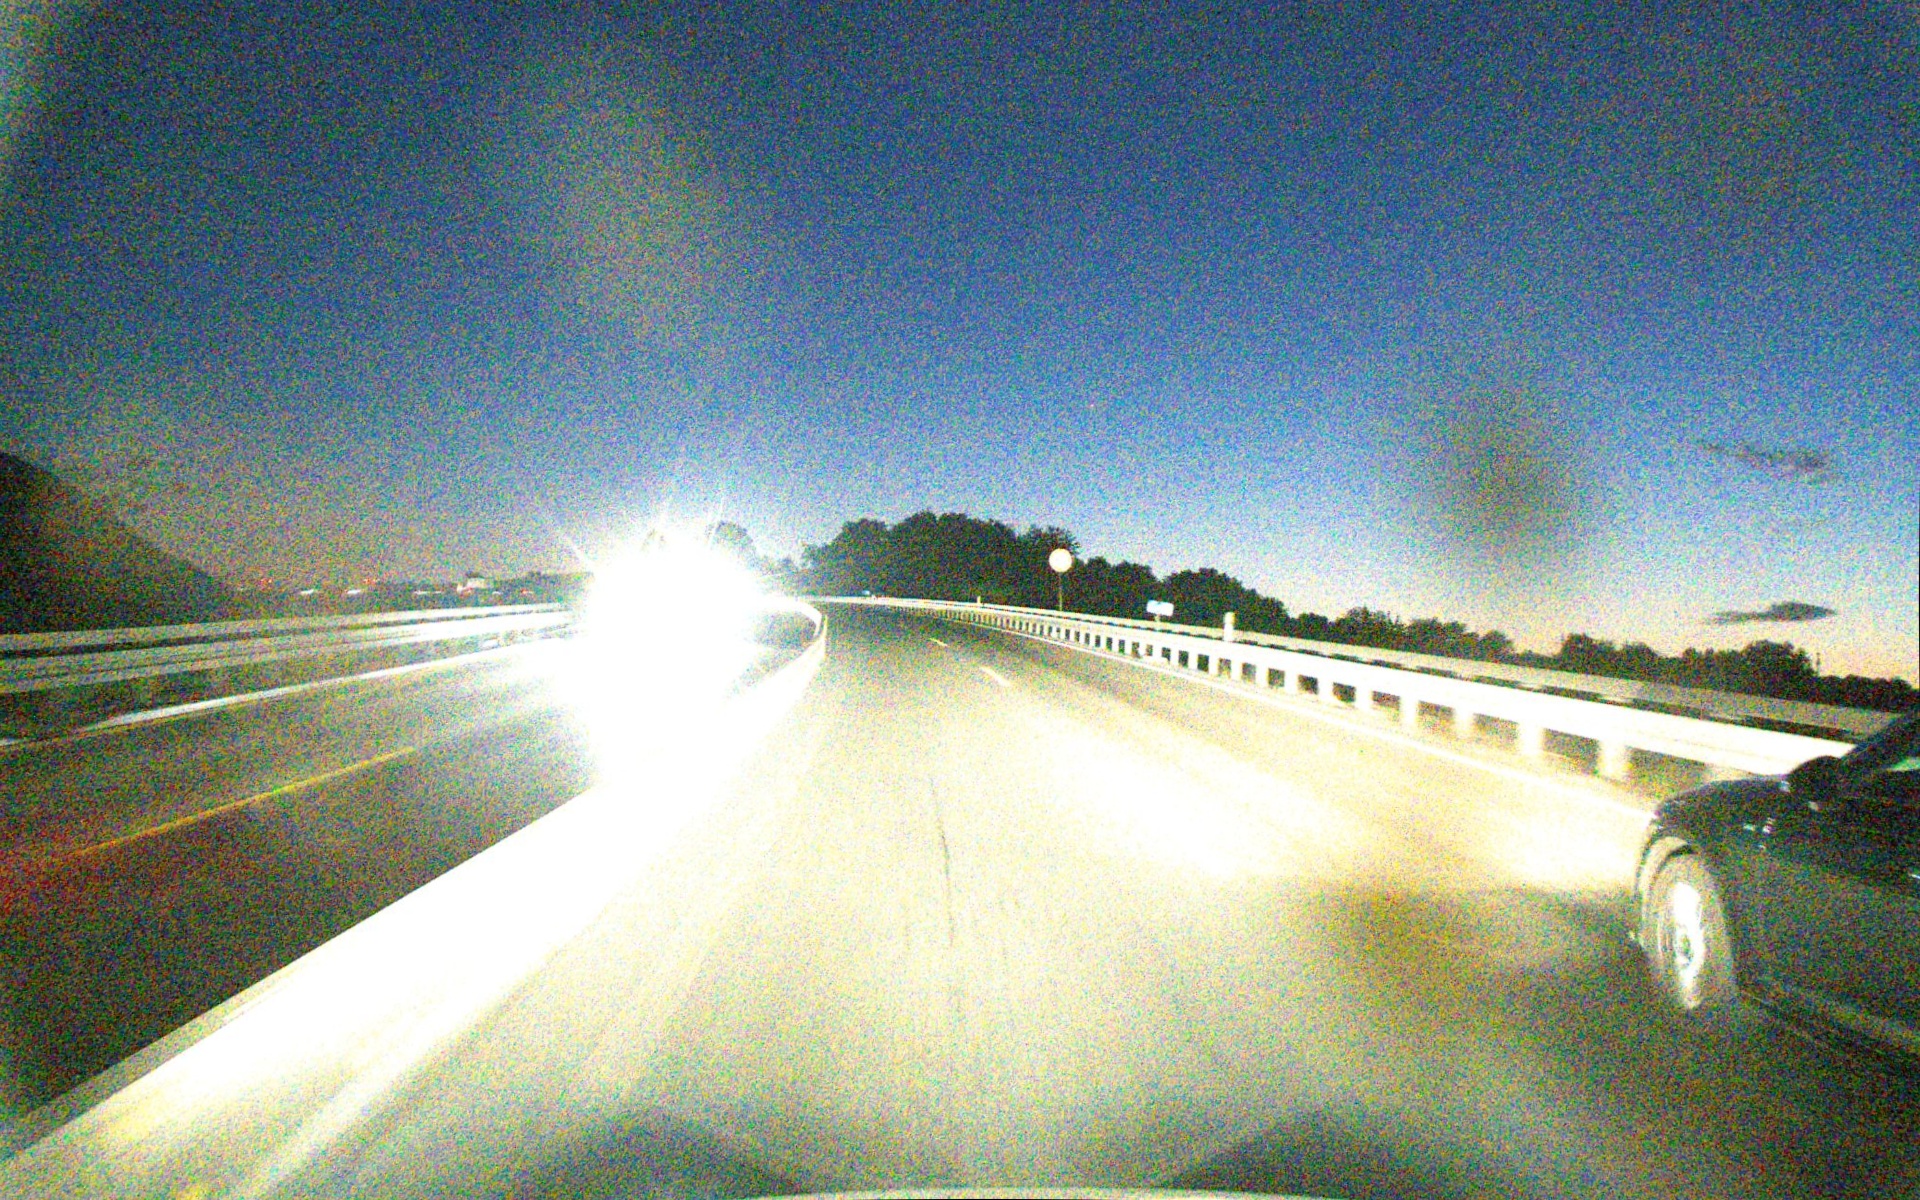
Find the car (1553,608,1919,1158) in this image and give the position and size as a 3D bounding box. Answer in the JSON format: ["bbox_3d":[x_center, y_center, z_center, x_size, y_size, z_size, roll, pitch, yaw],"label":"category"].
[{"bbox_3d":[3.502,0.794,4.539,1.772,1.451,4.872,0,1,-3],"label":"car"}]

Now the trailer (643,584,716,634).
[{"bbox_3d":[-8.536,0.261,50.552,1.846,1.451,3.348,0,1,-4],"label":"trailer"}]

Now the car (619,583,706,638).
[{"bbox_3d":[-8.270,0.257,46.405,1.875,1.451,4.948,0,1,-4],"label":"car"}]
